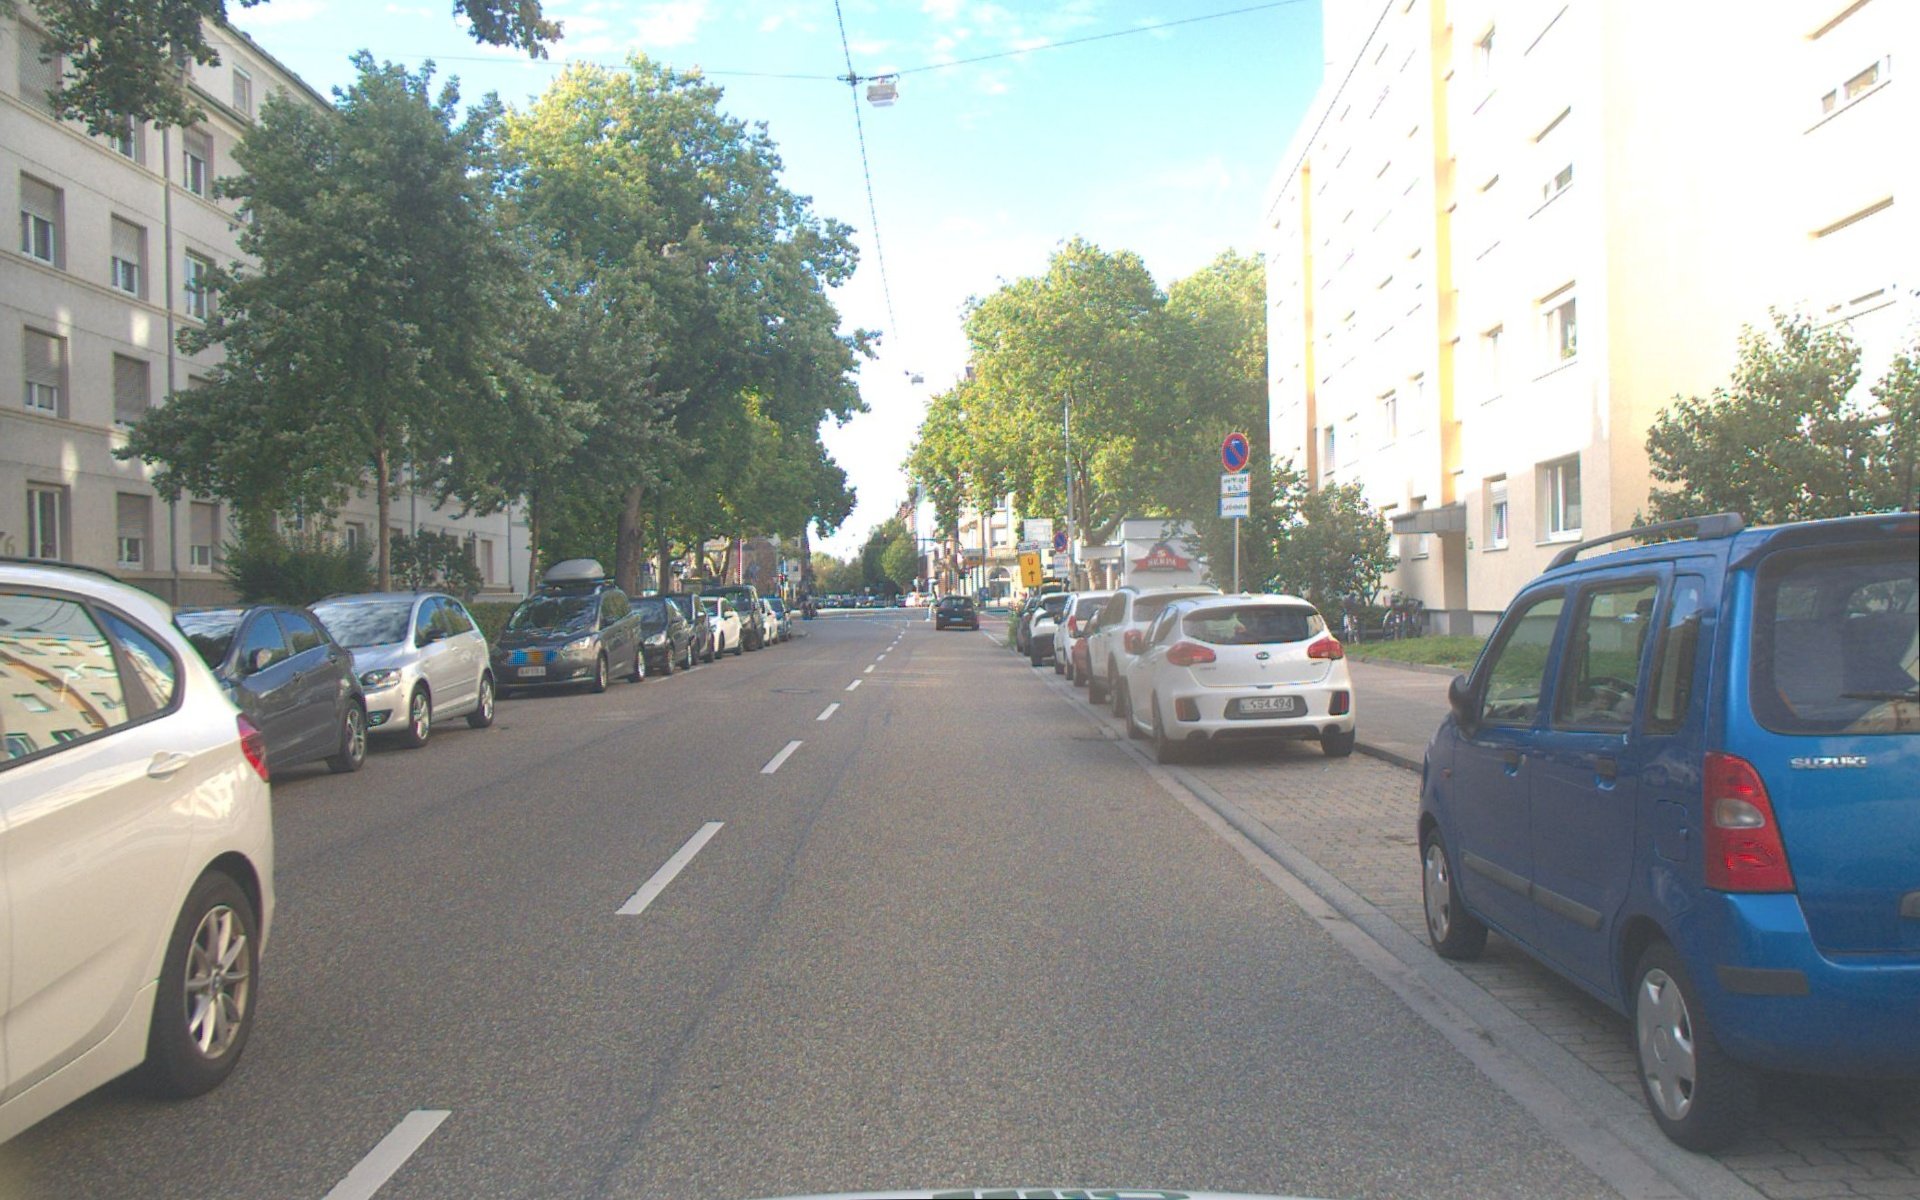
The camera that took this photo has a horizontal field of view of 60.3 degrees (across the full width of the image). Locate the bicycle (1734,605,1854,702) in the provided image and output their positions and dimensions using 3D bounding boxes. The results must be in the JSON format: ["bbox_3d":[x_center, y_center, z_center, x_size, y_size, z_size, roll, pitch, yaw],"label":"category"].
[{"bbox_3d":[8.861,0.549,17.623,0.449,0.958,1.516,-2,0,-1],"label":"bicycle"}]

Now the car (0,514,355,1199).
[{"bbox_3d":[-2.959,0.607,3.530,1.821,1.555,4.011,-1,0,0],"label":"car"}]

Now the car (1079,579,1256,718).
[{"bbox_3d":[2.644,0.581,21.933,1.693,1.608,4.116,-2,0,-1],"label":"car"}]

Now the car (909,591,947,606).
[{"bbox_3d":[-3.431,-0.147,177.430,3.912,1.445,1.997,-1,0,-8],"label":"car"}]

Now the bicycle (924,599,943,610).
[{"bbox_3d":[-2.823,0.448,175.729,1.988,1.101,0.628,-1,0,-14],"label":"bicycle"}]

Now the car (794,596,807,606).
[{"bbox_3d":[-21.295,0.118,221.233,1.519,1.251,3.586,0,0,-1],"label":"car"}]

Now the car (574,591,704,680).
[{"bbox_3d":[-6.121,0.634,31.912,1.665,1.512,3.848,-3,0,0],"label":"car"}]

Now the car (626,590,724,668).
[{"bbox_3d":[-6.239,0.602,36.445,1.521,1.546,3.016,-3,0,1],"label":"car"}]

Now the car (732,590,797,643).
[{"bbox_3d":[-6.568,0.527,55.894,1.763,1.648,3.801,-3,0,-2],"label":"car"}]

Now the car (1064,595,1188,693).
[{"bbox_3d":[2.644,0.671,27.016,1.485,1.422,3.674,-2,0,-2],"label":"car"}]

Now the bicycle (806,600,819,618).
[{"bbox_3d":[-8.939,0.538,100.147,0.746,1.011,1.924,-1,0,-5],"label":"bicycle"}]

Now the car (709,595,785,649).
[{"bbox_3d":[-6.570,0.649,51.318,1.762,1.519,3.803,-3,0,0],"label":"car"}]

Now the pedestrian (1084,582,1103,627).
[{"bbox_3d":[5.003,0.166,62.091,0.639,1.674,0.743,0,0,-1],"label":"pedestrian"}]

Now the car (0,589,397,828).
[{"bbox_3d":[-5.798,0.710,12.834,1.582,1.494,4.011,-3,0,-3],"label":"car"}]

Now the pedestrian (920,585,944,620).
[{"bbox_3d":[-1.467,0.121,86.513,1.057,1.784,0.915,0,0,-17],"label":"pedestrian"}]

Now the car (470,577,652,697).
[{"bbox_3d":[-6.379,0.542,26.973,1.762,1.697,4.482,-3,0,0],"label":"car"}]

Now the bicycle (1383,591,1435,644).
[{"bbox_3d":[10.020,0.376,36.941,0.518,1.134,2.209,-2,0,0],"label":"bicycle"}]

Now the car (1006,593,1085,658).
[{"bbox_3d":[2.175,0.616,42.819,1.656,1.555,4.236,-2,0,-2],"label":"car"}]

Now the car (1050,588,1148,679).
[{"bbox_3d":[2.544,0.579,30.897,1.519,1.584,3.468,-1,0,0],"label":"car"}]

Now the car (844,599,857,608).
[{"bbox_3d":[-16.828,0.556,254.427,1.742,1.251,3.586,0,0,-1],"label":"car"}]

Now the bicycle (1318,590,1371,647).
[{"bbox_3d":[8.606,0.404,37.113,0.585,1.207,2.209,-4,0,0],"label":"bicycle"}]

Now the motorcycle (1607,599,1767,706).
[{"bbox_3d":[7.958,0.537,18.237,0.618,1.063,2.393,-2,0,-1],"label":"motorcycle"}]

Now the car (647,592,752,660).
[{"bbox_3d":[-6.362,0.596,40.832,1.659,1.519,4.334,-2,0,3],"label":"car"}]

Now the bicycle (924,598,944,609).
[{"bbox_3d":[-2.771,0.390,175.100,1.988,1.101,0.618,-1,0,-14],"label":"bicycle"}]

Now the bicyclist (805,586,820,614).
[{"bbox_3d":[-8.934,-0.007,100.190,0.796,1.721,1.111,-1,0,-7],"label":"bicyclist"}]

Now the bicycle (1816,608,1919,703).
[{"bbox_3d":[9.797,0.571,17.671,0.449,0.943,1.516,-2,0,-1],"label":"bicycle"}]

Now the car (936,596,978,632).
[{"bbox_3d":[-0.150,0.561,69.270,1.716,1.438,3.999,0,0,-1],"label":"car"}]

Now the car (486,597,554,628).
[{"bbox_3d":[-22.670,0.624,85.320,1.558,1.503,3.707,-1,0,20],"label":"car"}]

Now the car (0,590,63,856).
[{"bbox_3d":[-5.953,0.722,7.611,1.569,1.443,3.961,-4,0,-3],"label":"car"}]

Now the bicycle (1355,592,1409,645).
[{"bbox_3d":[9.412,0.393,36.940,0.585,1.134,2.209,-2,0,0],"label":"bicycle"}]

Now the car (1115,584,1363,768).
[{"bbox_3d":[2.597,0.649,16.436,1.693,1.513,4.642,-2,0,1],"label":"car"}]

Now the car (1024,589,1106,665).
[{"bbox_3d":[2.269,0.561,36.620,1.655,1.555,4.239,-1,0,2],"label":"car"}]

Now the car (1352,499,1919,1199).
[{"bbox_3d":[2.771,0.578,6.043,1.693,1.678,4.117,-2,0,1],"label":"car"}]

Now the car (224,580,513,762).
[{"bbox_3d":[-6.151,0.662,17.687,1.704,1.648,3.993,-2,0,-2],"label":"car"}]

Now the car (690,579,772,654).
[{"bbox_3d":[-6.340,0.426,46.114,1.688,1.915,4.191,-3,0,-1],"label":"car"}]
